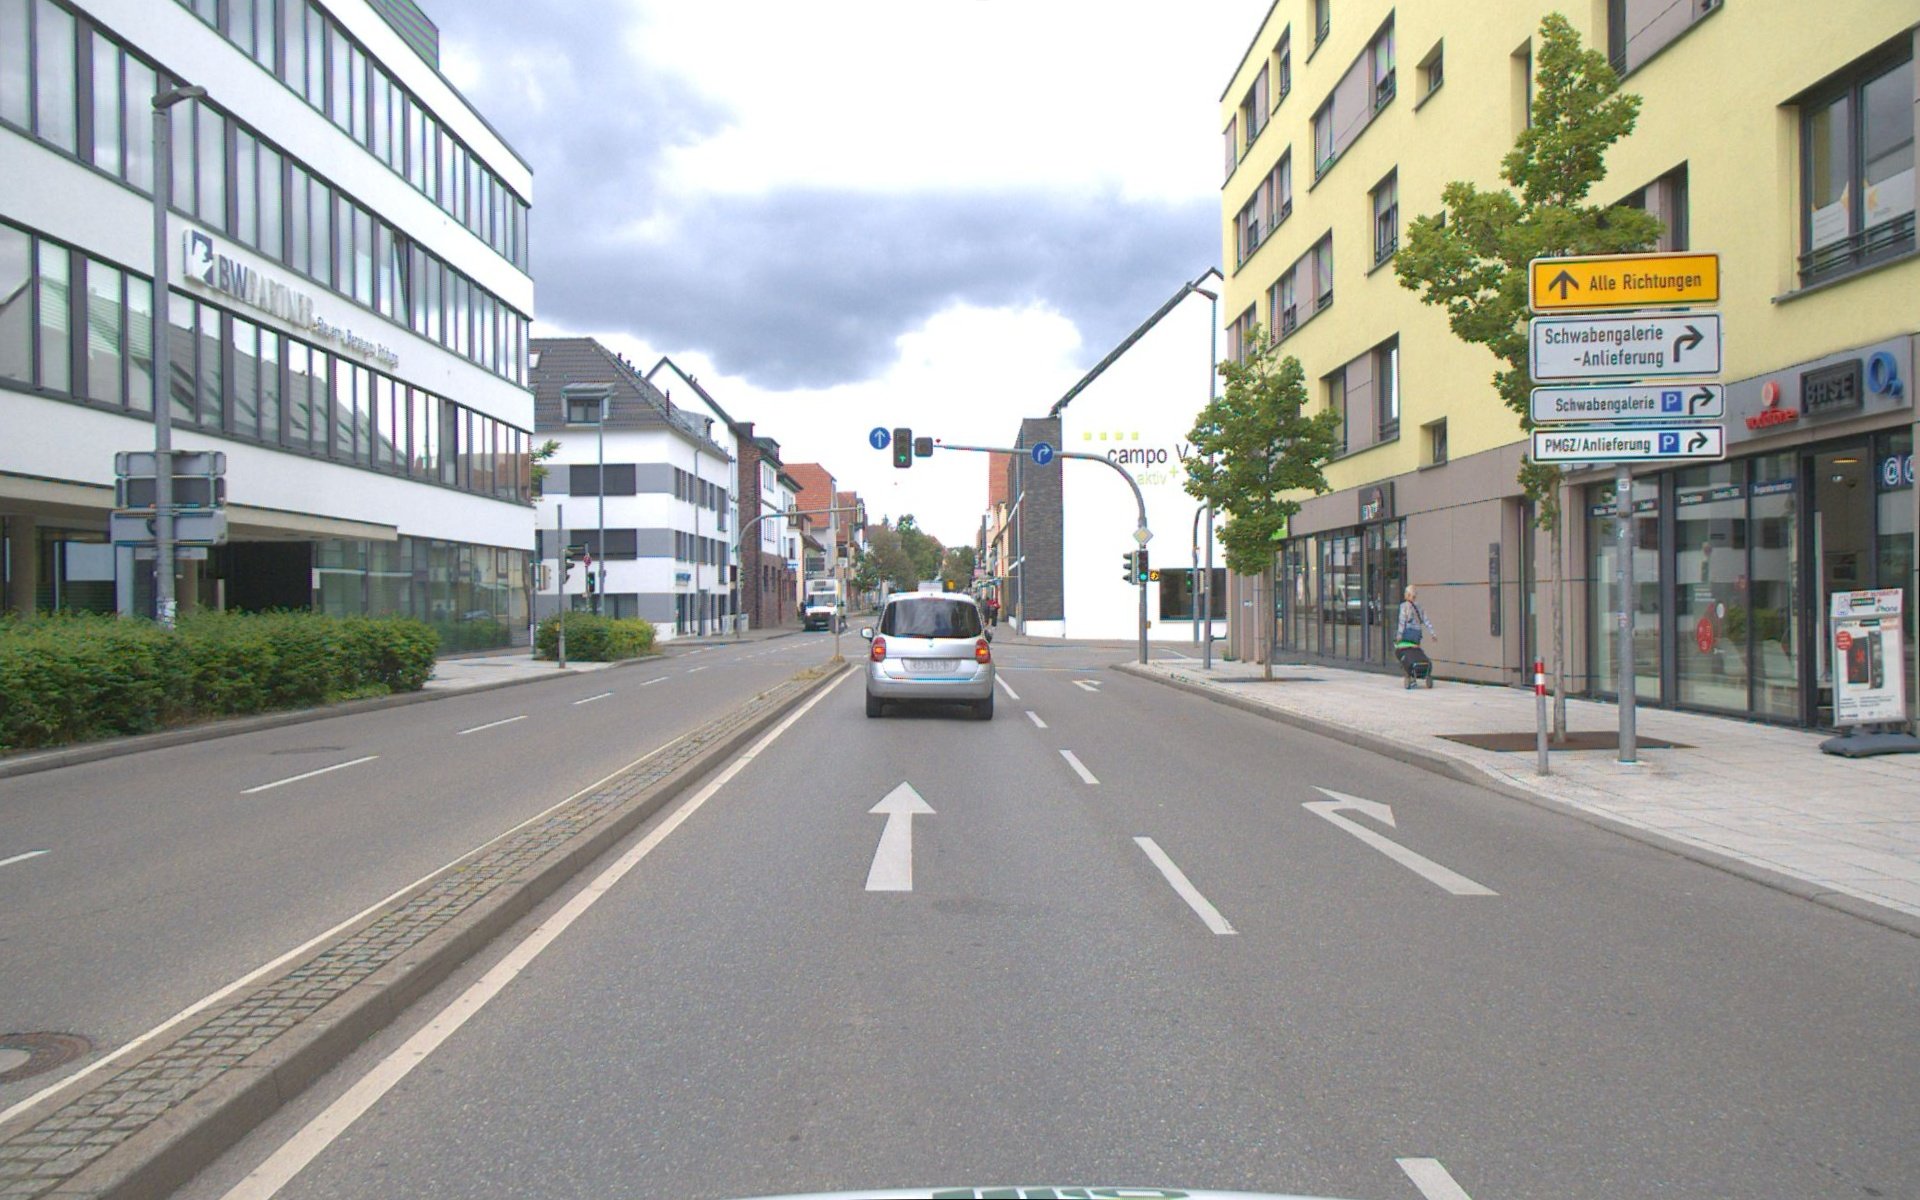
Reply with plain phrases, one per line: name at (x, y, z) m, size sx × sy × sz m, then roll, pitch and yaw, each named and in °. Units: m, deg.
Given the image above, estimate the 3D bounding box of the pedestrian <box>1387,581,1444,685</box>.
pedestrian at (7.304, 0.520, 26.533) m, size 0.681 × 1.621 × 0.603 m, roll -2°, pitch 0°, yaw -2°

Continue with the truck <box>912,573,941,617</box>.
truck at (-2.979, -0.468, 149.052) m, size 2.542 × 3.925 × 6.848 m, roll 0°, pitch 0°, yaw 0°

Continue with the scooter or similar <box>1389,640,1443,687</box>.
scooter or similar at (7.114, 0.982, 25.817) m, size 0.580 × 0.684 × 0.824 m, roll -2°, pitch 0°, yaw -2°

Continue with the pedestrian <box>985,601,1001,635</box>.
pedestrian at (1.812, 0.997, 90.645) m, size 0.791 × 1.818 × 0.861 m, roll -3°, pitch 0°, yaw 0°

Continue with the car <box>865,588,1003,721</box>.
car at (-0.352, 0.663, 22.243) m, size 1.672 × 1.606 × 3.999 m, roll 1°, pitch 0°, yaw -1°

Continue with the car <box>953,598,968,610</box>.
car at (0.070, 0.462, 200.005) m, size 1.776 × 1.378 × 4.000 m, roll -2°, pitch 0°, yaw 0°

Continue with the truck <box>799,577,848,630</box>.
truck at (-8.197, 0.190, 99.918) m, size 2.385 × 3.005 × 8.362 m, roll -1°, pitch 0°, yaw -1°

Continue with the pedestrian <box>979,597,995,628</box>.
pedestrian at (1.642, 0.752, 100.221) m, size 0.871 × 1.818 × 0.785 m, roll -3°, pitch 0°, yaw 0°
